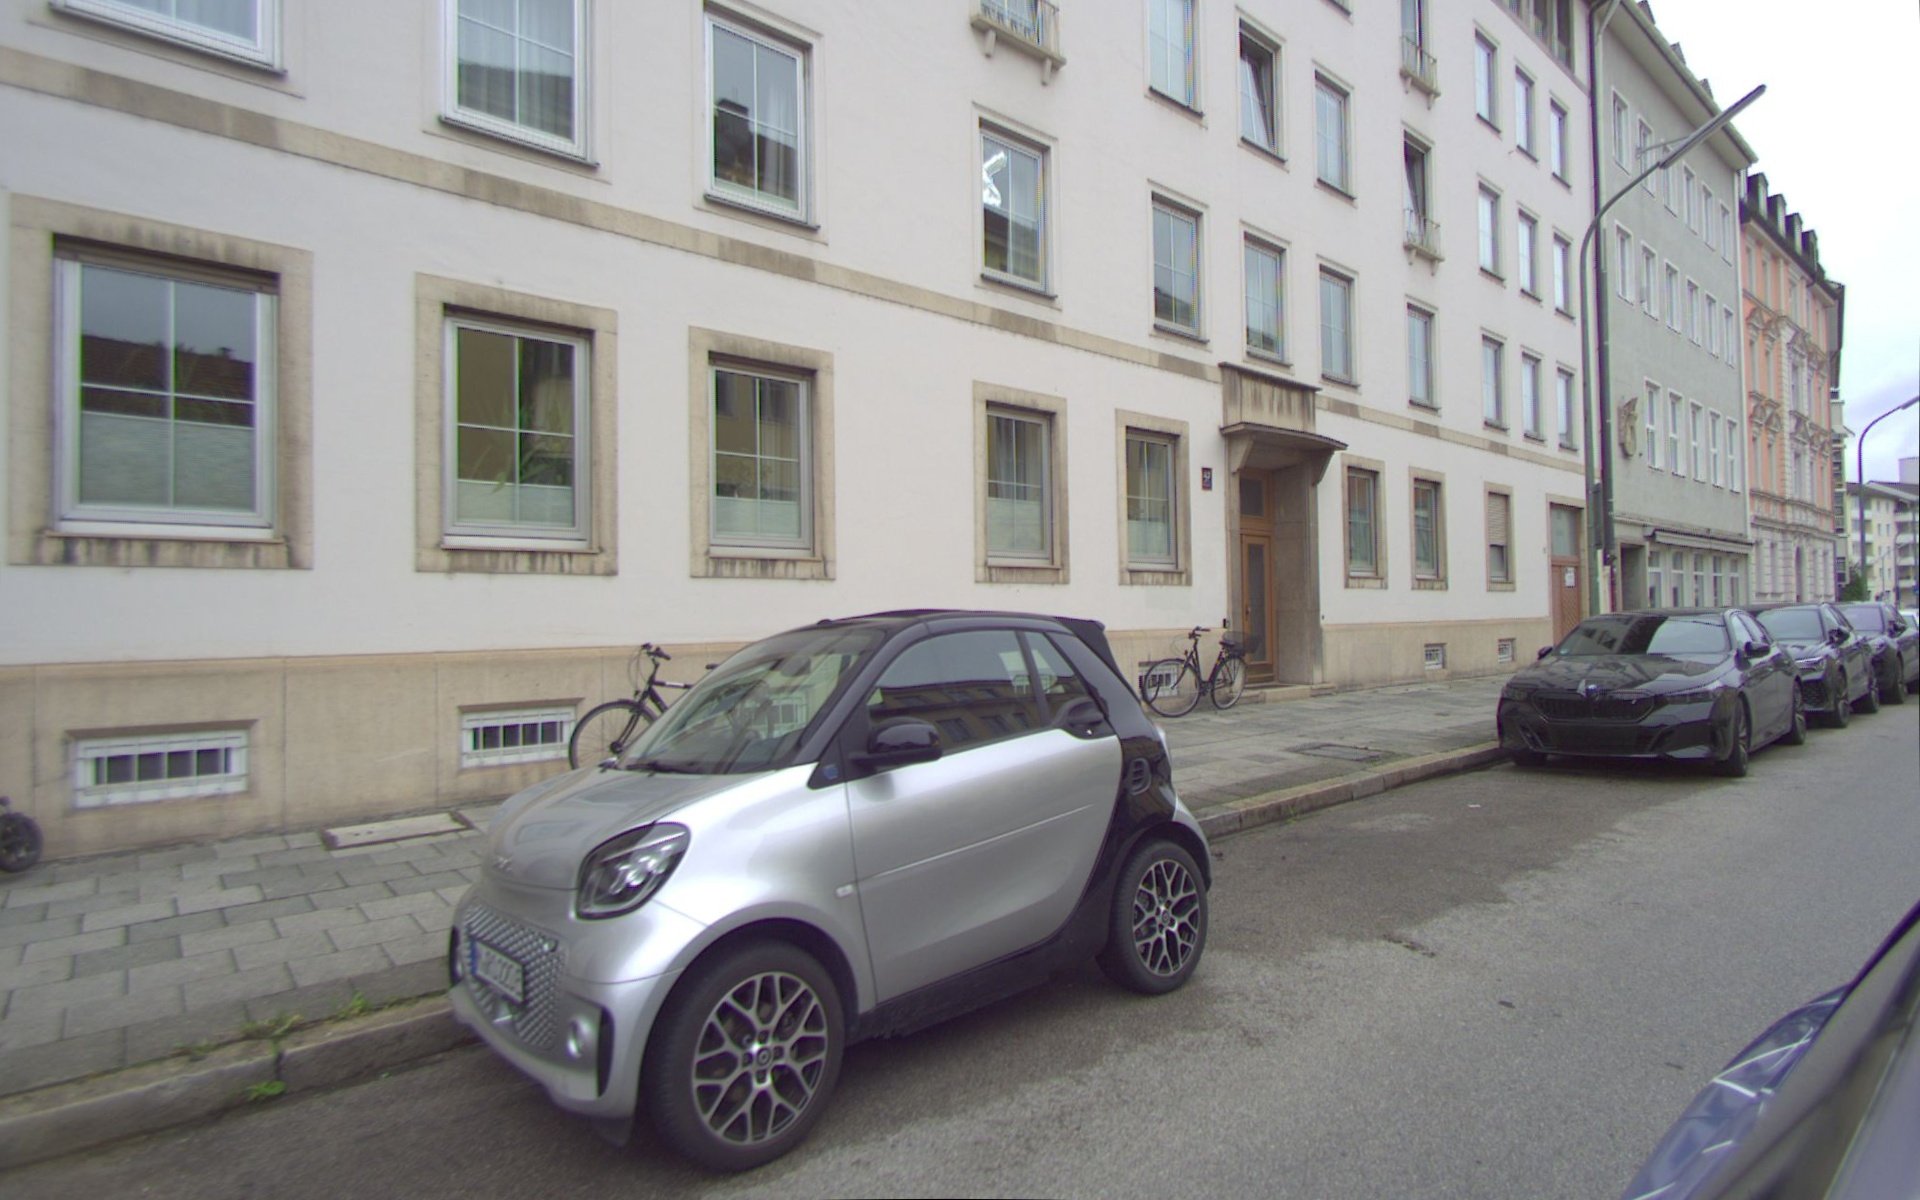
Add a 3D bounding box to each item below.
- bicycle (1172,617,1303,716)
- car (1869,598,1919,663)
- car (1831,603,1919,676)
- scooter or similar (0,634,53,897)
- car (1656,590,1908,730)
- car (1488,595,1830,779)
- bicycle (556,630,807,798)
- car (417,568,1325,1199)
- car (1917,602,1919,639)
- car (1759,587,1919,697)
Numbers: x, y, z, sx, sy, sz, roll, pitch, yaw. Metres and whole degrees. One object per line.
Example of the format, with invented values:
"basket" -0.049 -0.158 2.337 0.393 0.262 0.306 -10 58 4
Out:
"bicycle" 3.490 0.786 12.617 2.005 1.093 0.598 0 1 -43
"car" 24.787 0.730 25.860 3.930 1.561 1.766 0 -4 -41
"car" 20.369 0.813 21.853 4.108 1.449 1.743 0 -3 -41
"scooter or similar" -5.285 0.834 5.074 1.076 1.291 0.730 0 -1 -41
"car" 11.260 0.727 13.756 4.412 1.602 1.830 0 -3 -41
"car" 7.295 0.738 10.353 4.620 1.466 1.874 0 -3 -43
"bicycle" -2.142 0.825 7.944 1.805 1.105 0.630 0 1 -42
"car" -0.180 0.755 4.127 3.320 1.537 1.616 0 -5 -40
"car" 29.869 0.742 29.950 4.118 1.485 1.723 0 -4 -40
"car" 15.092 0.643 16.896 4.411 1.602 1.830 0 -3 -40
